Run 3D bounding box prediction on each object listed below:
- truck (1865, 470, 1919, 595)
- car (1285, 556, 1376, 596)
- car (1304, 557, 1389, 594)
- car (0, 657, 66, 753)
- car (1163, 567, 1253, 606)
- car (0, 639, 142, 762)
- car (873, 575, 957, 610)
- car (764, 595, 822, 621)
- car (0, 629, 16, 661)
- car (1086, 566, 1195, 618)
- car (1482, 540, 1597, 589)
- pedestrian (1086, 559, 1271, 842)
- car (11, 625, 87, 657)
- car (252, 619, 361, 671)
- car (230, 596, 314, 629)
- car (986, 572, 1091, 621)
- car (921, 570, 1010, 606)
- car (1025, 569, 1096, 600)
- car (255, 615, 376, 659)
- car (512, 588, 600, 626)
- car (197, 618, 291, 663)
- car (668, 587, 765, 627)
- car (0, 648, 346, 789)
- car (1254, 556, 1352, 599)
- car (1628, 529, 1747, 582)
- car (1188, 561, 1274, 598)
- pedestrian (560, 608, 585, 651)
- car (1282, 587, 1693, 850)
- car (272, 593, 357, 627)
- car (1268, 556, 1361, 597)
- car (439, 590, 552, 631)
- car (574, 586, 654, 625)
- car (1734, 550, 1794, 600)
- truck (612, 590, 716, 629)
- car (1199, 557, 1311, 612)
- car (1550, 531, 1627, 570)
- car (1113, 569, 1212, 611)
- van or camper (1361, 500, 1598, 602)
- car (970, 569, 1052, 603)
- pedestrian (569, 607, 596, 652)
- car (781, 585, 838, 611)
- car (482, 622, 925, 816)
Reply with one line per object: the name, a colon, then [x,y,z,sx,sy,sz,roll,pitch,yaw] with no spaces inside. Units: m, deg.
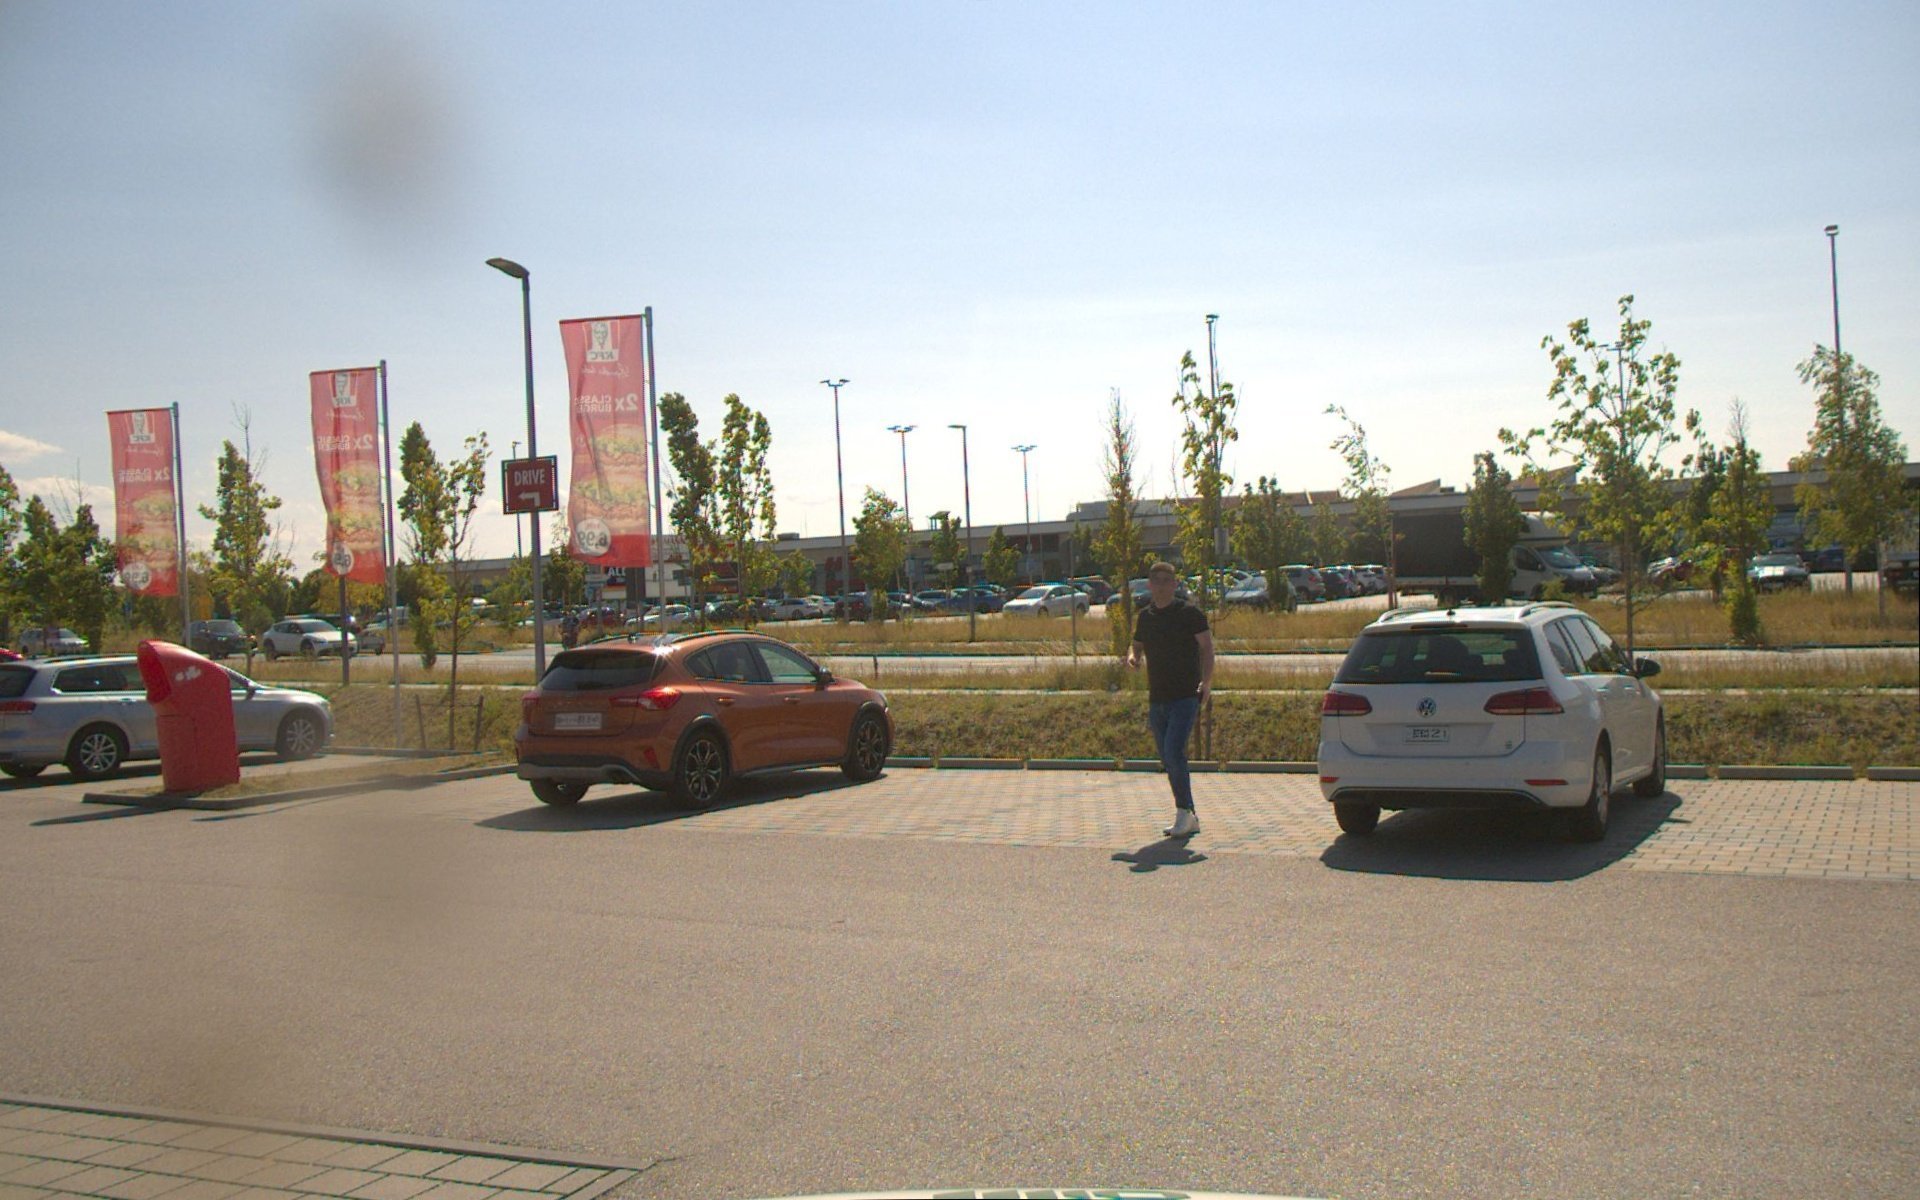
truck: [28.977,-2.013,49.889,2.706,3.541,6.824,-2,0,28]
car: [19.253,-1.242,85.902,4.301,1.888,1.955,-2,0,23]
car: [21.390,-1.363,91.474,4.301,1.888,1.955,-2,0,23]
car: [-16.194,1.687,25.229,1.736,1.435,4.196,-2,-1,32]
car: [13.036,-0.688,86.825,4.301,1.888,1.955,-2,0,23]
car: [-14.262,1.469,23.641,1.911,1.666,4.217,-2,-1,35]
car: [-2.849,-0.479,104.872,4.813,2.049,2.083,-2,0,18]
car: [-10.966,0.505,108.580,3.391,1.579,1.668,-2,0,17]
car: [-49.224,2.269,82.756,4.569,1.553,1.990,-1,1,39]
car: [7.141,-0.328,65.156,4.372,1.888,1.924,-2,1,-45]
car: [26.180,-1.599,74.895,4.813,2.049,2.083,-2,0,18]
pedestrian: [1.495,0.661,11.372,0.979,1.841,0.720,-1,-1,-25]
car: [-46.549,2.106,84.504,4.573,1.530,1.989,-1,1,42]
car: [-25.361,1.725,64.115,4.322,1.878,1.991,-2,0,38]
car: [-46.874,0.835,112.795,1.957,2.049,5.064,-2,1,32]
car: [3.287,-0.159,68.547,4.255,1.888,1.967,-2,1,-45]
car: [0.302,-0.665,91.870,4.465,1.888,1.955,-2,0,23]
car: [6.768,-1.052,111.209,4.301,1.888,1.955,-2,0,23]
car: [-28.212,1.602,72.340,5.105,1.761,1.987,-2,0,27]
car: [-23.843,0.402,97.820,1.957,2.049,5.167,-2,1,32]
car: [-29.147,1.637,67.273,4.523,1.693,1.867,-1,1,43]
car: [-12.410,0.360,84.479,1.965,1.878,4.703,-2,1,42]
car: [-10.325,1.420,21.016,1.705,1.437,4.586,-2,-1,34]
car: [16.426,-1.089,79.223,4.301,1.888,1.955,-2,0,23]
car: [28.521,-1.745,64.944,4.167,1.888,1.870,-2,0,23]
car: [14.986,-1.150,91.502,4.301,1.888,1.955,-2,0,23]
pedestrian: [-14.445,1.110,61.679,0.620,1.583,0.657,-2,0,-42]
car: [3.942,0.697,11.802,1.793,1.495,4.472,-3,-1,31]
car: [-42.611,0.655,109.238,1.957,2.049,5.064,-2,1,32]
car: [17.988,-1.182,83.884,4.301,1.888,1.955,-2,0,23]
car: [-28.239,0.629,100.835,2.760,2.276,6.290,-2,1,35]
car: [-19.779,0.294,94.730,4.060,2.049,1.967,-2,1,-45]
car: [25.482,-0.794,52.362,1.618,1.485,3.962,-2,1,27]
truck: [-15.748,0.496,88.301,1.964,1.896,5.401,-2,1,42]
car: [11.014,-0.585,61.582,4.372,1.888,1.924,-2,1,-45]
car: [35.800,-2.795,94.235,3.908,2.049,1.999,-2,0,26]
car: [9.727,-0.493,79.510,4.301,1.888,1.955,-2,0,23]
van or camper: [17.563,-1.594,56.499,2.390,3.155,7.961,-2,0,-33]
car: [3.075,-0.823,99.219,4.465,1.888,1.955,-2,0,23]
pedestrian: [-13.928,1.095,61.016,0.686,1.627,0.745,-2,0,-42]
car: [-10.130,-0.128,111.188,3.391,1.579,1.668,-2,0,17]
car: [-2.248,1.019,15.690,1.793,1.495,4.344,-2,-1,30]
